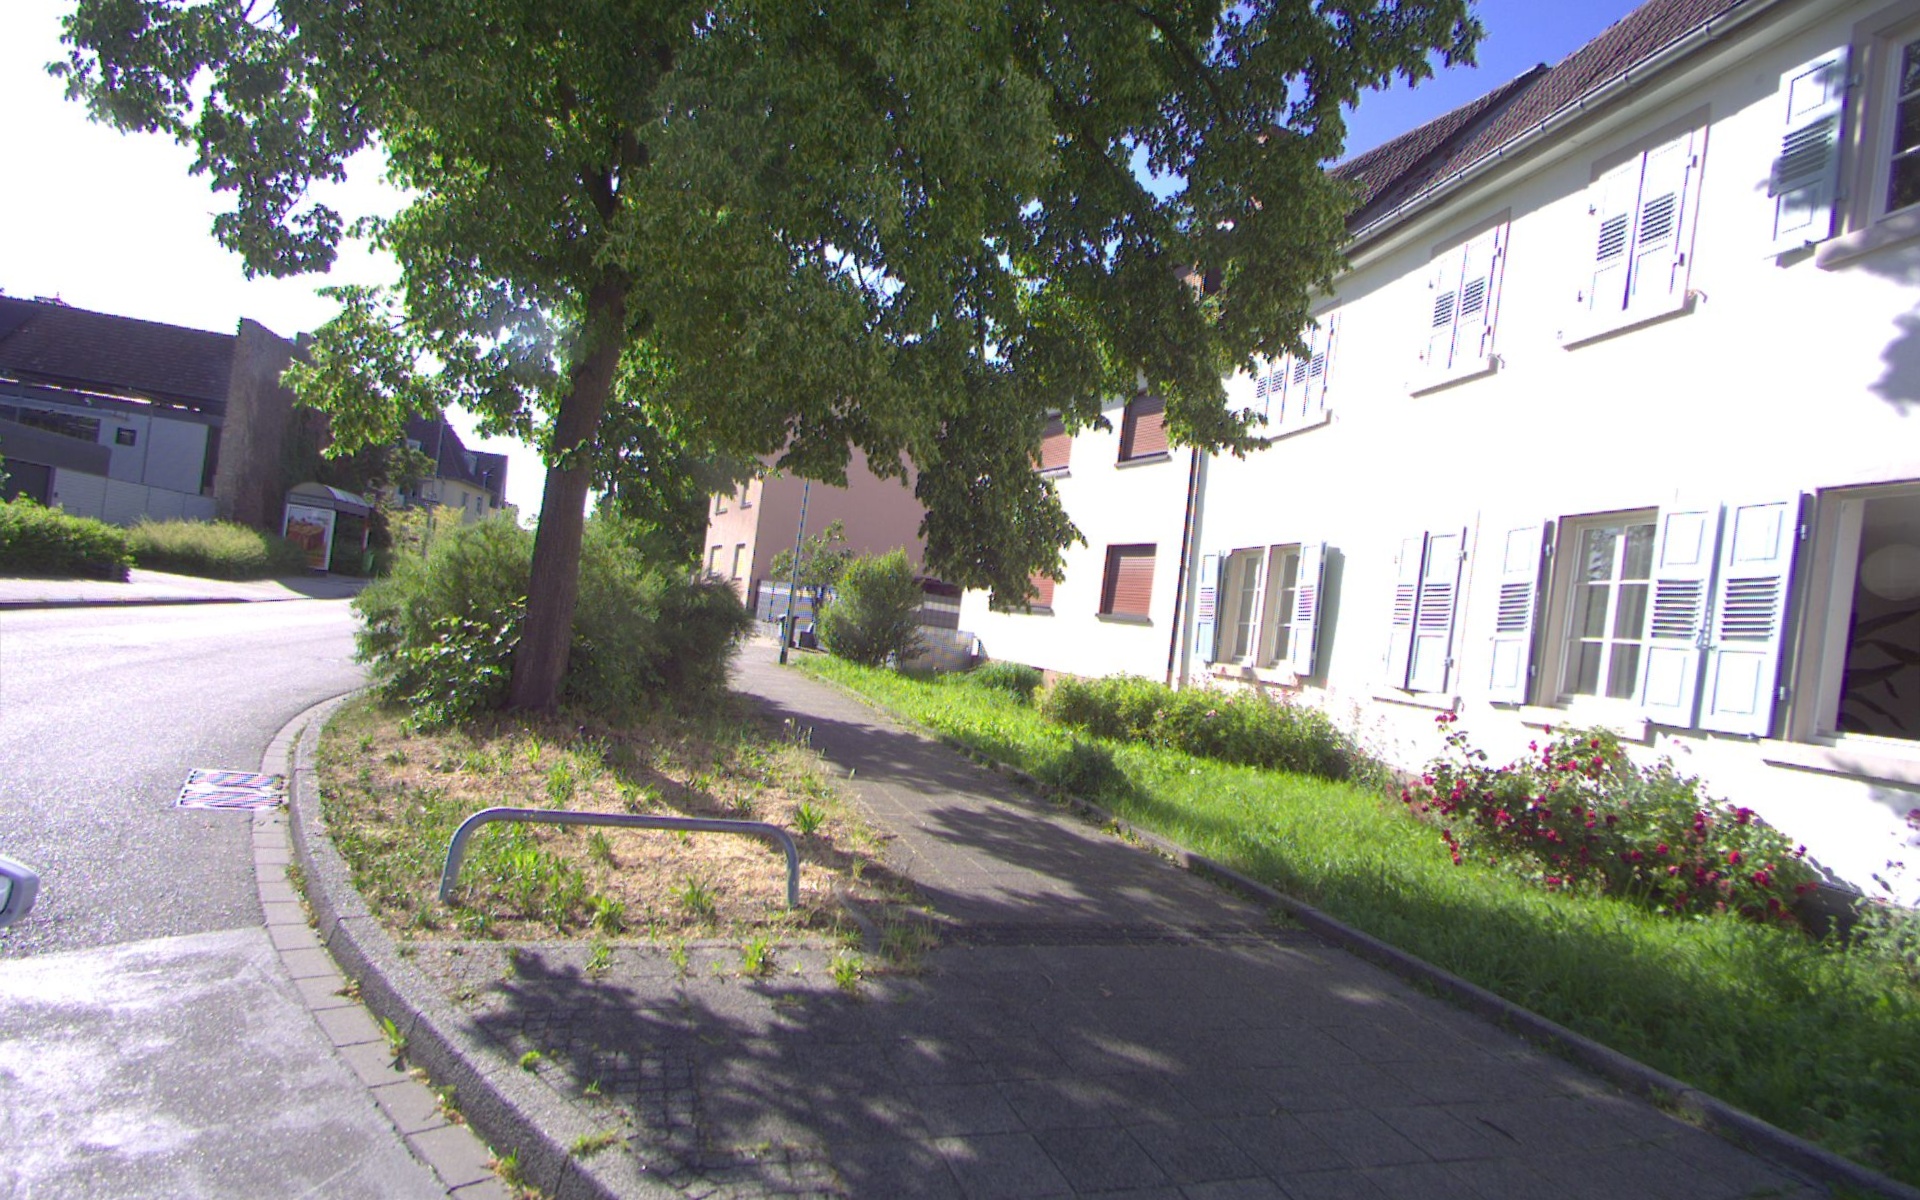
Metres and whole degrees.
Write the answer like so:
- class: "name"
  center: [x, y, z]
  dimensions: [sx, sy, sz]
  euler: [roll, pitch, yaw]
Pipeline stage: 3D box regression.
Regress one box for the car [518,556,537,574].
- class: "car"
  center: [-43.196, -3.504, 100.519]
  dimensions: [1.599, 1.491, 3.979]
  euler: [9, -2, -23]
